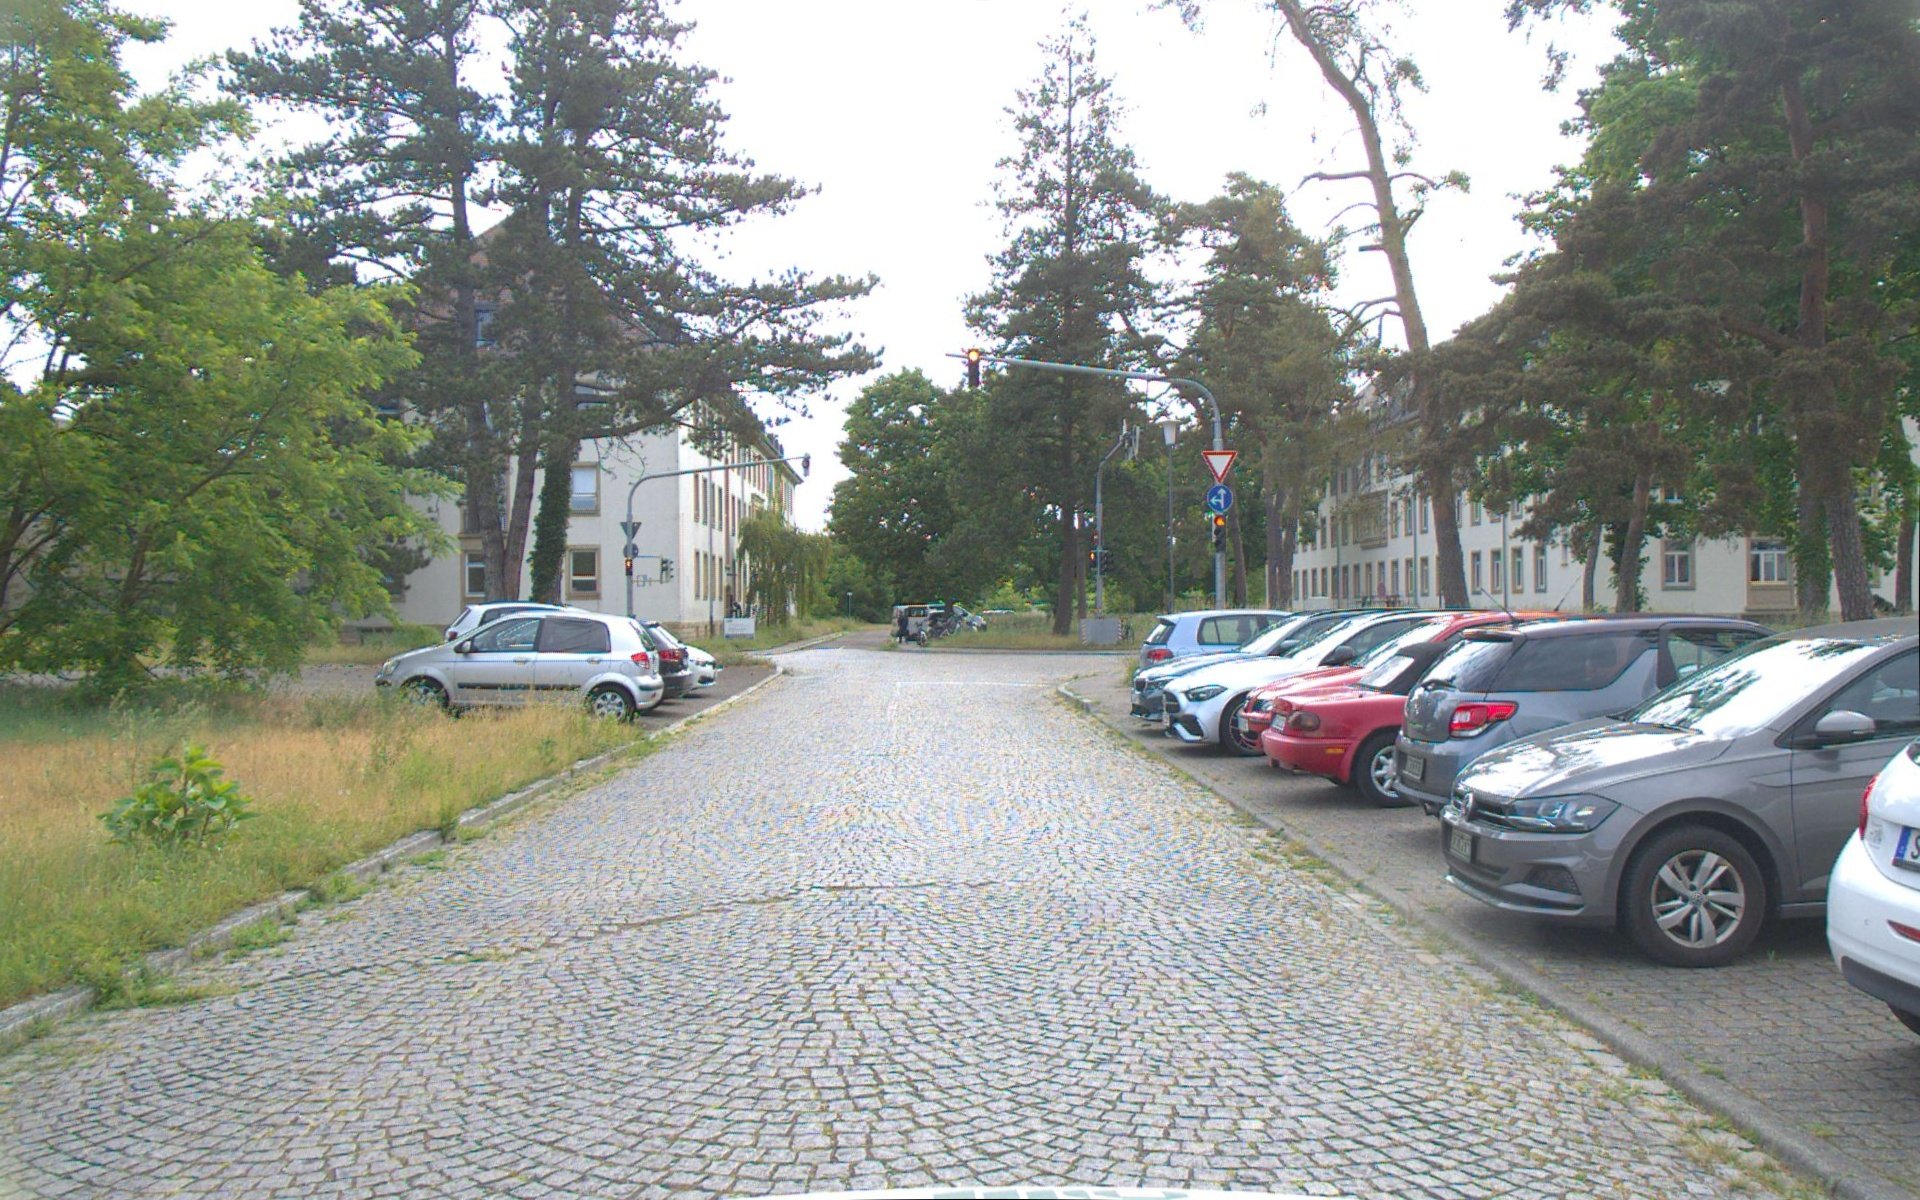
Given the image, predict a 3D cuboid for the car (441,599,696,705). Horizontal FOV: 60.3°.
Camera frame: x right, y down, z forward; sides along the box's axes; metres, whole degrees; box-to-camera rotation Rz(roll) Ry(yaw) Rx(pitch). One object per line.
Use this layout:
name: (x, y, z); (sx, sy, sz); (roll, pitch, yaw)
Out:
car: (-6.461, 0.851, 27.641); (3.870, 1.590, 1.648); (2, -1, -5)

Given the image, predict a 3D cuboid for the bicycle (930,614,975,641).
bicycle: (-0.331, 1.213, 72.110); (1.918, 1.152, 0.587); (-1, -1, -9)

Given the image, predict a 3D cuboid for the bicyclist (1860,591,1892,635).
bicyclist: (29.947, 0.427, 54.074); (0.733, 1.435, 0.605); (-1, -1, 7)

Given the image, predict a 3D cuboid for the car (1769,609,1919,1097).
car: (4.852, 0.719, 5.128); (3.784, 1.498, 1.758); (-2, 0, -1)

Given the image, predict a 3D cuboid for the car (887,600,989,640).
car: (-1.191, 1.076, 90.173); (5.264, 1.958, 2.020); (-2, 0, -11)

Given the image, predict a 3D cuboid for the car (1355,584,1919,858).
car: (4.742, 0.720, 10.900); (3.785, 1.498, 1.757); (-2, 0, -3)

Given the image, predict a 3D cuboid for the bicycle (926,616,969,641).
bicycle: (-0.555, 1.279, 74.220); (1.936, 1.088, 0.582); (0, -1, -32)

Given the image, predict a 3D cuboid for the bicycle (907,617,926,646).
bicycle: (-1.819, 1.308, 68.866); (0.591, 1.152, 1.958); (-1, 0, -7)

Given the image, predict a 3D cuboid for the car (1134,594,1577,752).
car: (4.300, 0.755, 18.267); (4.343, 1.441, 1.866); (-2, 0, -11)

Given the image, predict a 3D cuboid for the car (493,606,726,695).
car: (-6.334, 0.908, 30.187); (3.868, 1.446, 1.649); (2, -1, -2)

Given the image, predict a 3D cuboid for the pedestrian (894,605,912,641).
pedestrian: (-2.621, 1.043, 76.150); (0.725, 1.647, 0.774); (-1, -1, -11)

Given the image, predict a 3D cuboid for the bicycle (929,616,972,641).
bicycle: (-0.442, 1.289, 75.573); (1.936, 1.088, 0.582); (0, -1, -32)

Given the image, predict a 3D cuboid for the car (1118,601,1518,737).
car: (4.442, 0.836, 20.958); (4.589, 1.441, 1.869); (-2, 0, -4)

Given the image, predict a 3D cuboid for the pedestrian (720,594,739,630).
pedestrian: (-12.202, 0.648, 87.487); (0.767, 1.870, 0.732); (0, -1, -33)

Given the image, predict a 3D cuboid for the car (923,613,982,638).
car: (-0.416, 1.326, 86.810); (2.949, 1.290, 1.533); (-1, 0, -8)

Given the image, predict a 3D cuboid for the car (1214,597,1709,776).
car: (4.726, 0.788, 16.011); (4.176, 1.441, 1.870); (-2, 0, -2)

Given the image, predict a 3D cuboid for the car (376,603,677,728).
car: (-5.754, 0.864, 22.285); (3.630, 1.505, 1.581); (2, -1, -5)

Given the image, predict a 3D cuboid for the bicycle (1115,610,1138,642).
bicycle: (6.065, 0.930, 60.200); (0.574, 1.125, 1.961); (-1, 0, -2)

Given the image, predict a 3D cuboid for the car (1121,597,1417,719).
car: (4.300, 0.796, 23.406); (3.847, 1.503, 1.642); (-2, 0, 0)

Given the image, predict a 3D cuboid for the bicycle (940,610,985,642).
bicycle: (0.096, 1.162, 73.589); (1.918, 1.408, 0.587); (-1, -1, -9)

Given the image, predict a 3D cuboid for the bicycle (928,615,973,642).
bicycle: (-0.410, 1.242, 72.741); (1.918, 1.136, 0.587); (-1, 0, -9)

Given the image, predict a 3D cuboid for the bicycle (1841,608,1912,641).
bicycle: (29.956, 0.799, 54.071); (1.913, 1.042, 0.605); (-1, 0, 7)

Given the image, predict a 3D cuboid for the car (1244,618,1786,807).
car: (4.398, 0.862, 13.487); (3.785, 1.258, 1.757); (-2, 0, -3)

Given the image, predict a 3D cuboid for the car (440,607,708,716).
car: (-5.729, 0.906, 24.883); (3.672, 1.453, 1.581); (2, -1, -5)

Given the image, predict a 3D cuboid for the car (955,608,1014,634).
car: (1.383, 1.193, 94.134); (3.168, 1.441, 1.723); (-1, 0, -4)

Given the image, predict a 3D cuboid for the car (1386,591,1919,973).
car: (4.230, 0.742, 8.011); (3.788, 1.498, 1.756); (-2, 0, -6)
